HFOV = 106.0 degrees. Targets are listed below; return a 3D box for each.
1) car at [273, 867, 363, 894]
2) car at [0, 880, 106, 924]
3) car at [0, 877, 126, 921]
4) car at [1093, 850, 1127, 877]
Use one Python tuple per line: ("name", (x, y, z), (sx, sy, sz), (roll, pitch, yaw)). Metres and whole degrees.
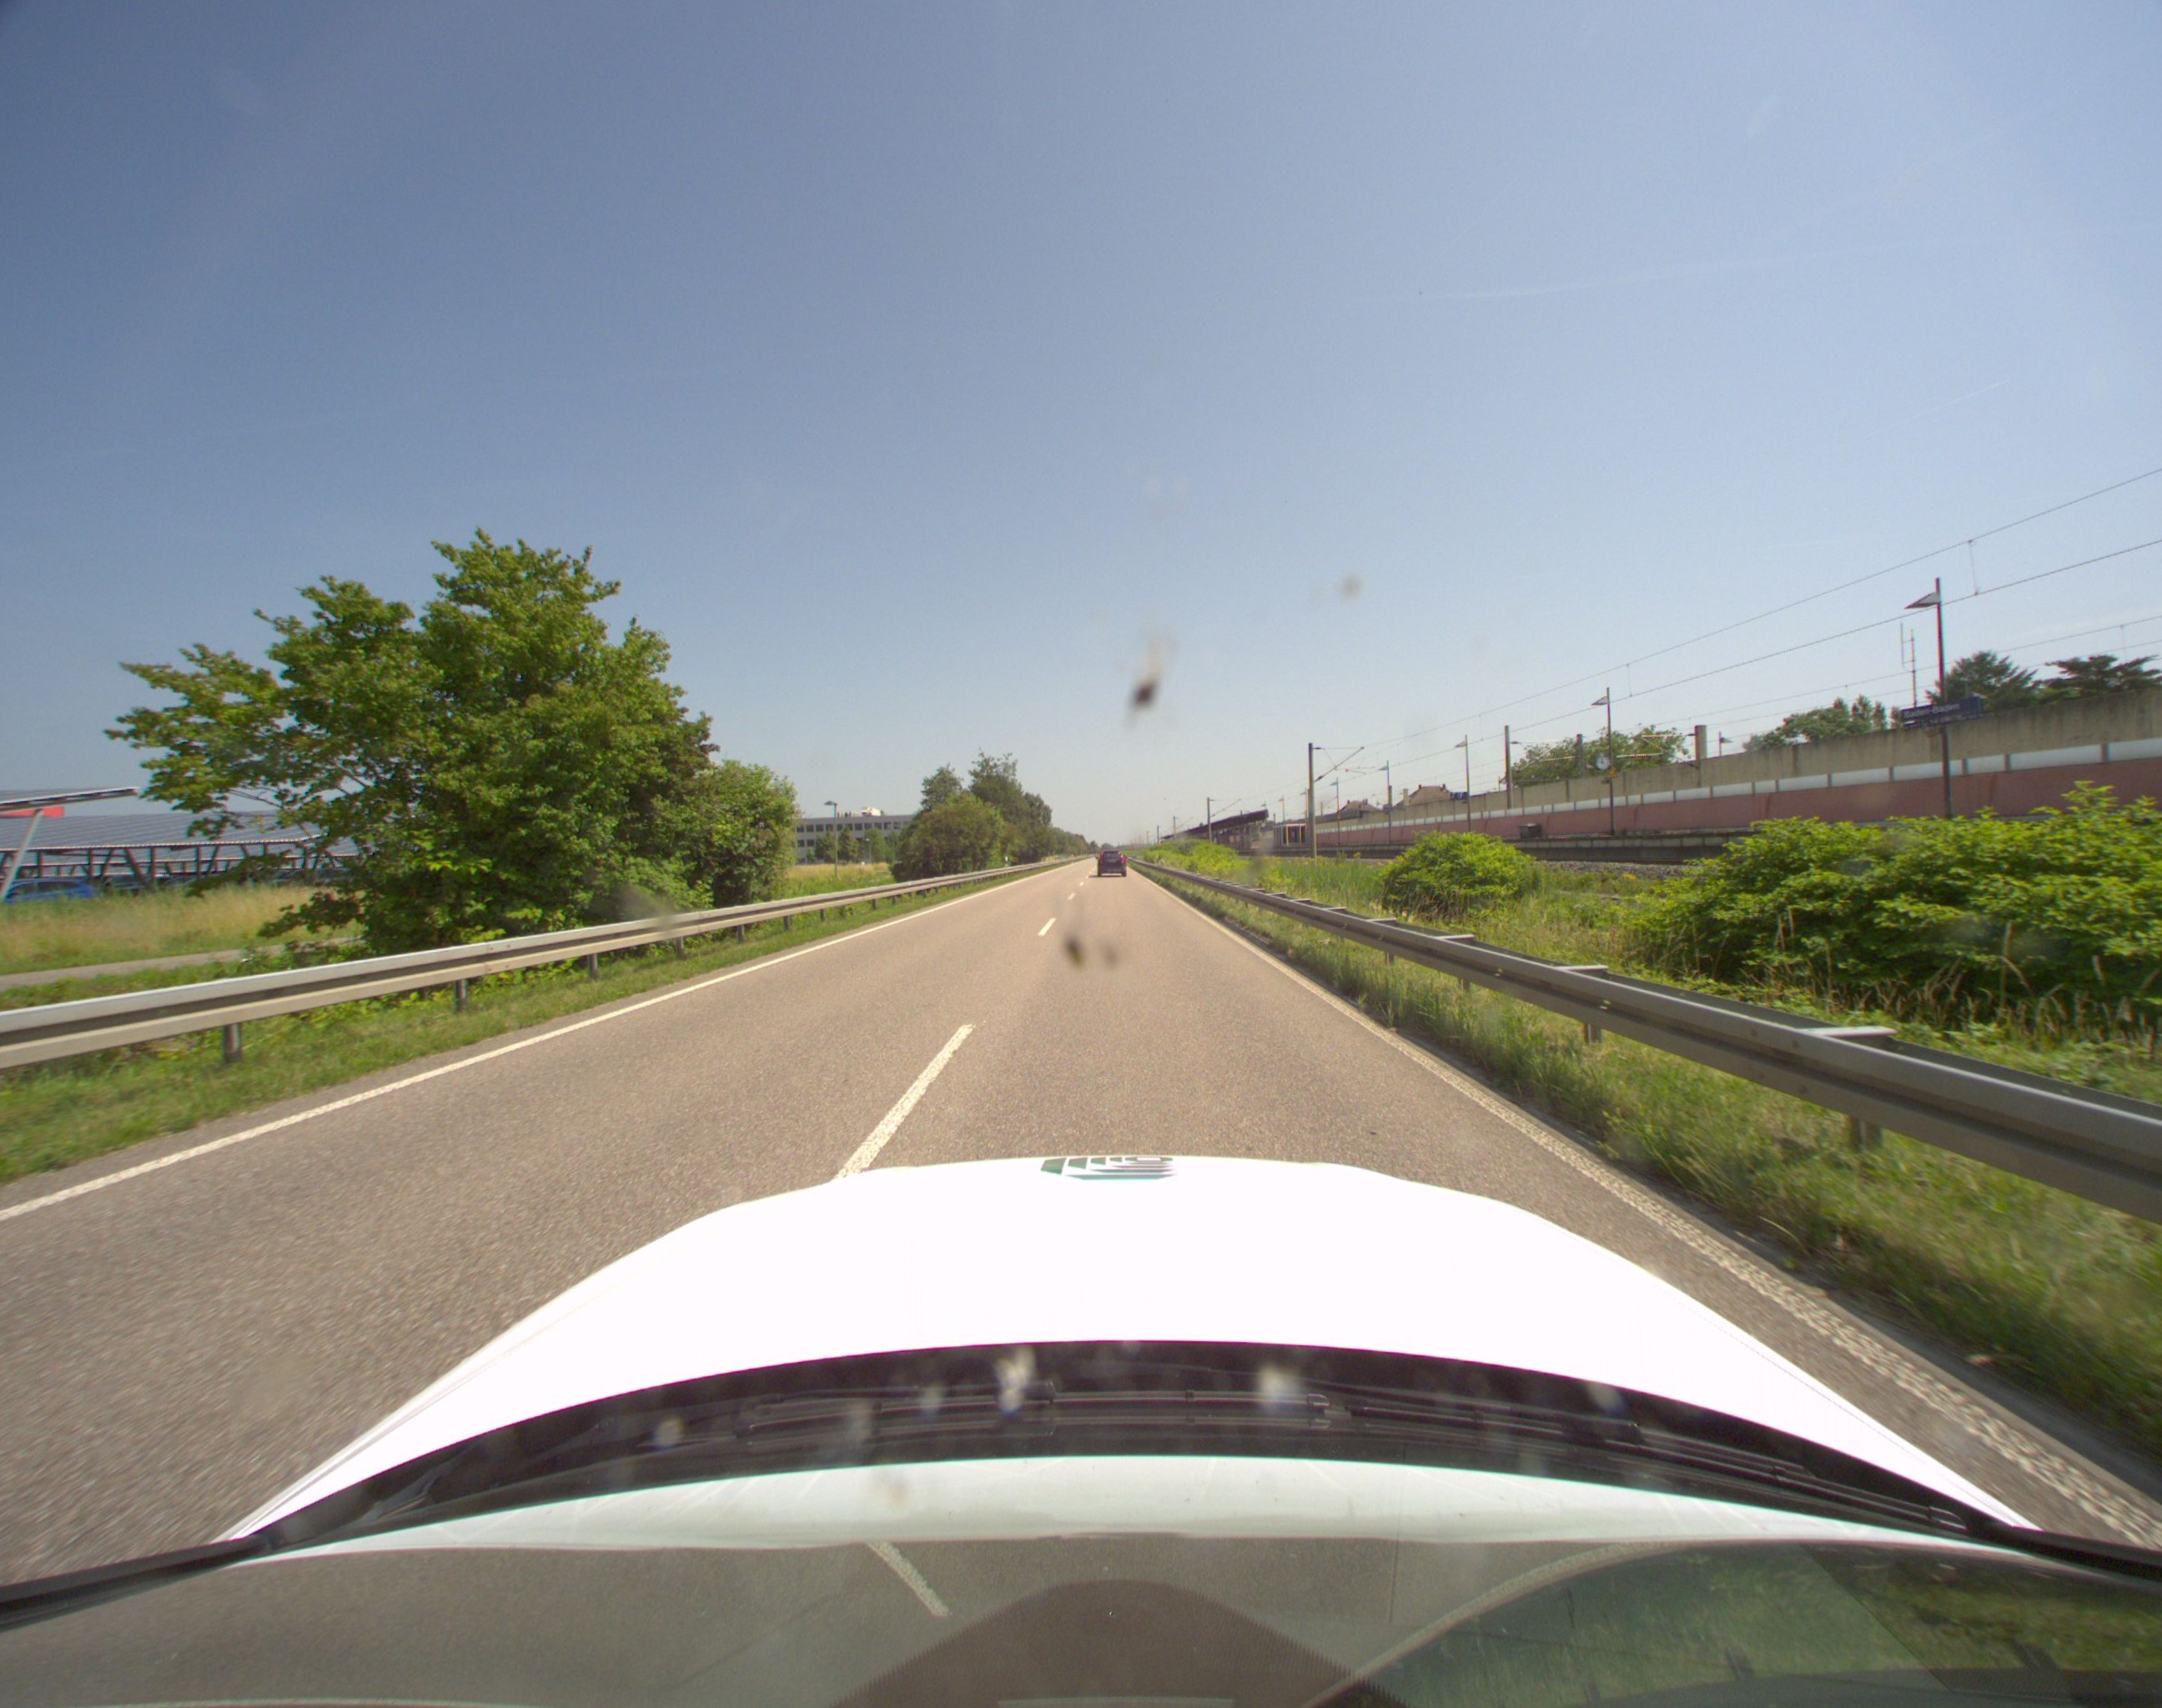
("car", (-40.325, 1.367, 43.133), (1.614, 1.291, 3.362), (-1, 0, -1))
("car", (-48.771, 2.193, 37.716), (1.986, 1.804, 4.264), (-1, 0, 2))
("car", (-35.349, 1.513, 27.764), (1.614, 1.291, 3.362), (-1, 0, -1))
("car", (1.857, 0.593, 53.290), (1.987, 1.700, 3.999), (-1, 0, -1))
